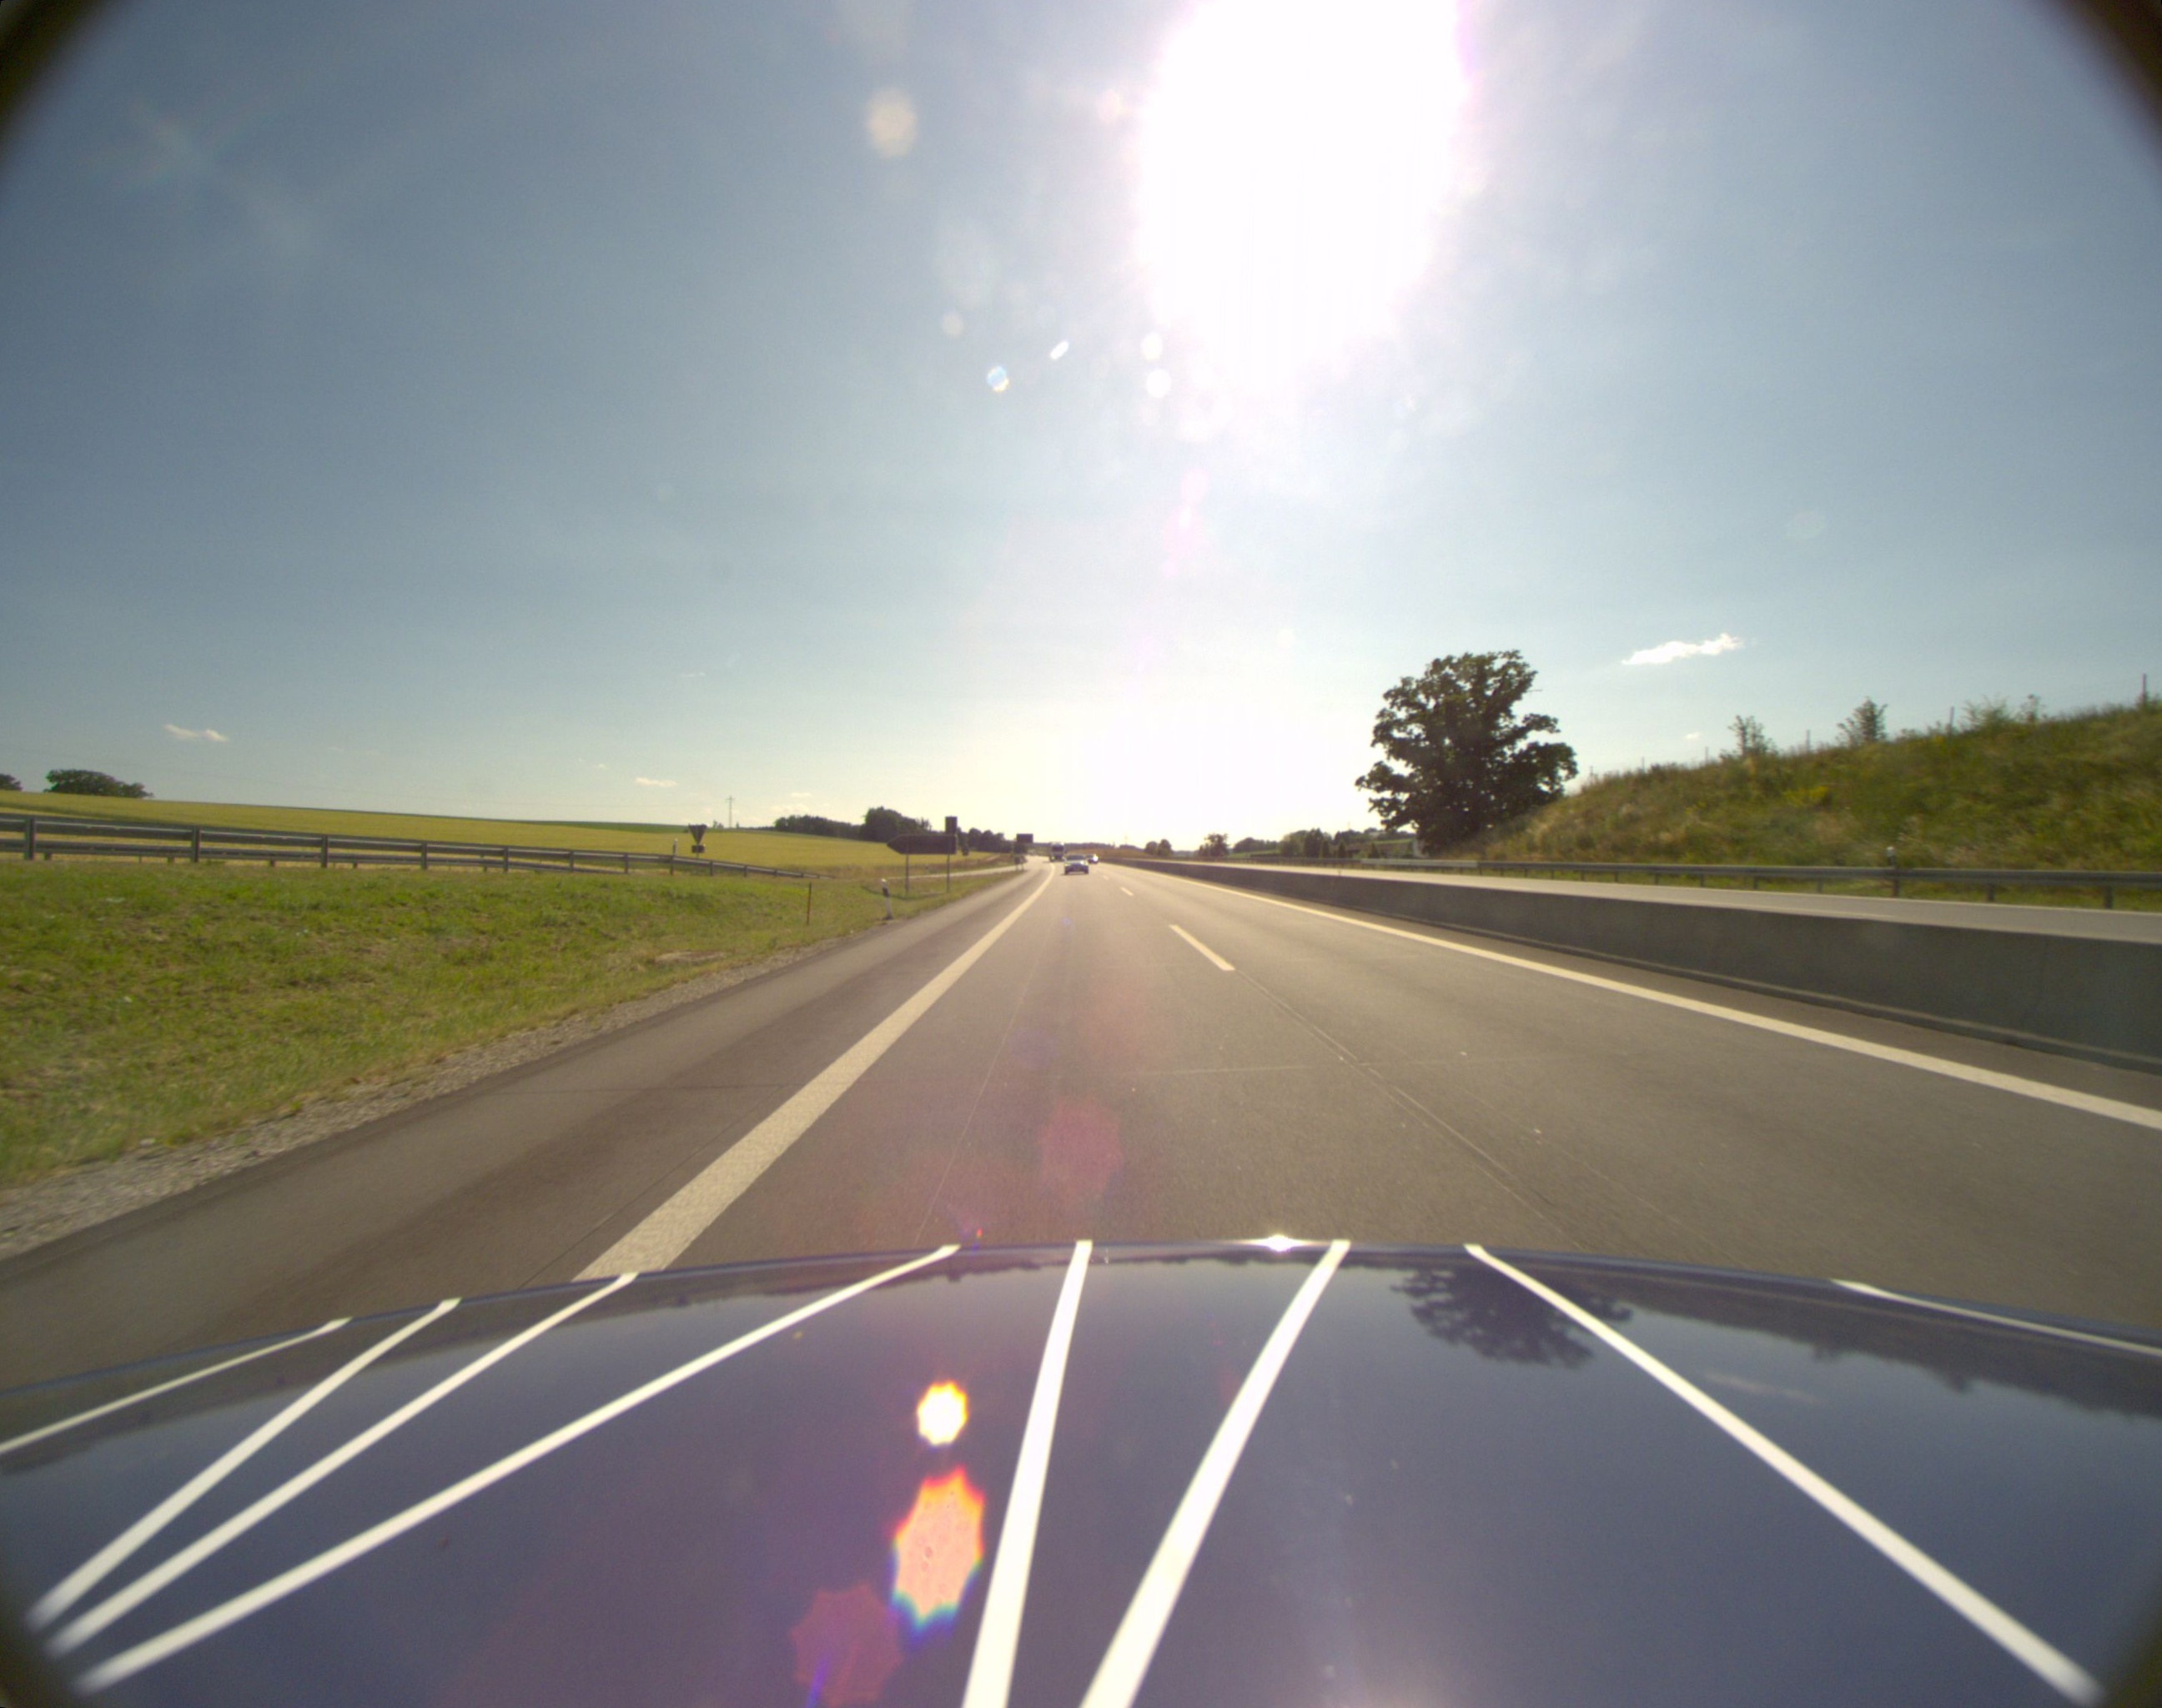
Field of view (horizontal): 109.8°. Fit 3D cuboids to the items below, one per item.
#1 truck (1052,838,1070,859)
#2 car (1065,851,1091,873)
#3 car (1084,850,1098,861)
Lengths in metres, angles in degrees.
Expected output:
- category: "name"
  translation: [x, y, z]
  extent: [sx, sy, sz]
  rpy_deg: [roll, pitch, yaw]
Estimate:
- category: "truck"
  translation: [-3.904, -1.048, 149.147]
  extent: [3.091, 3.991, 6.186]
  rpy_deg: [-1, 0, -4]
- category: "car"
  translation: [-0.217, 0.581, 58.772]
  extent: [1.891, 1.565, 3.791]
  rpy_deg: [-1, 0, 0]
- category: "car"
  translation: [1.463, 0.275, 112.201]
  extent: [1.900, 1.560, 3.999]
  rpy_deg: [-1, 0, -1]
